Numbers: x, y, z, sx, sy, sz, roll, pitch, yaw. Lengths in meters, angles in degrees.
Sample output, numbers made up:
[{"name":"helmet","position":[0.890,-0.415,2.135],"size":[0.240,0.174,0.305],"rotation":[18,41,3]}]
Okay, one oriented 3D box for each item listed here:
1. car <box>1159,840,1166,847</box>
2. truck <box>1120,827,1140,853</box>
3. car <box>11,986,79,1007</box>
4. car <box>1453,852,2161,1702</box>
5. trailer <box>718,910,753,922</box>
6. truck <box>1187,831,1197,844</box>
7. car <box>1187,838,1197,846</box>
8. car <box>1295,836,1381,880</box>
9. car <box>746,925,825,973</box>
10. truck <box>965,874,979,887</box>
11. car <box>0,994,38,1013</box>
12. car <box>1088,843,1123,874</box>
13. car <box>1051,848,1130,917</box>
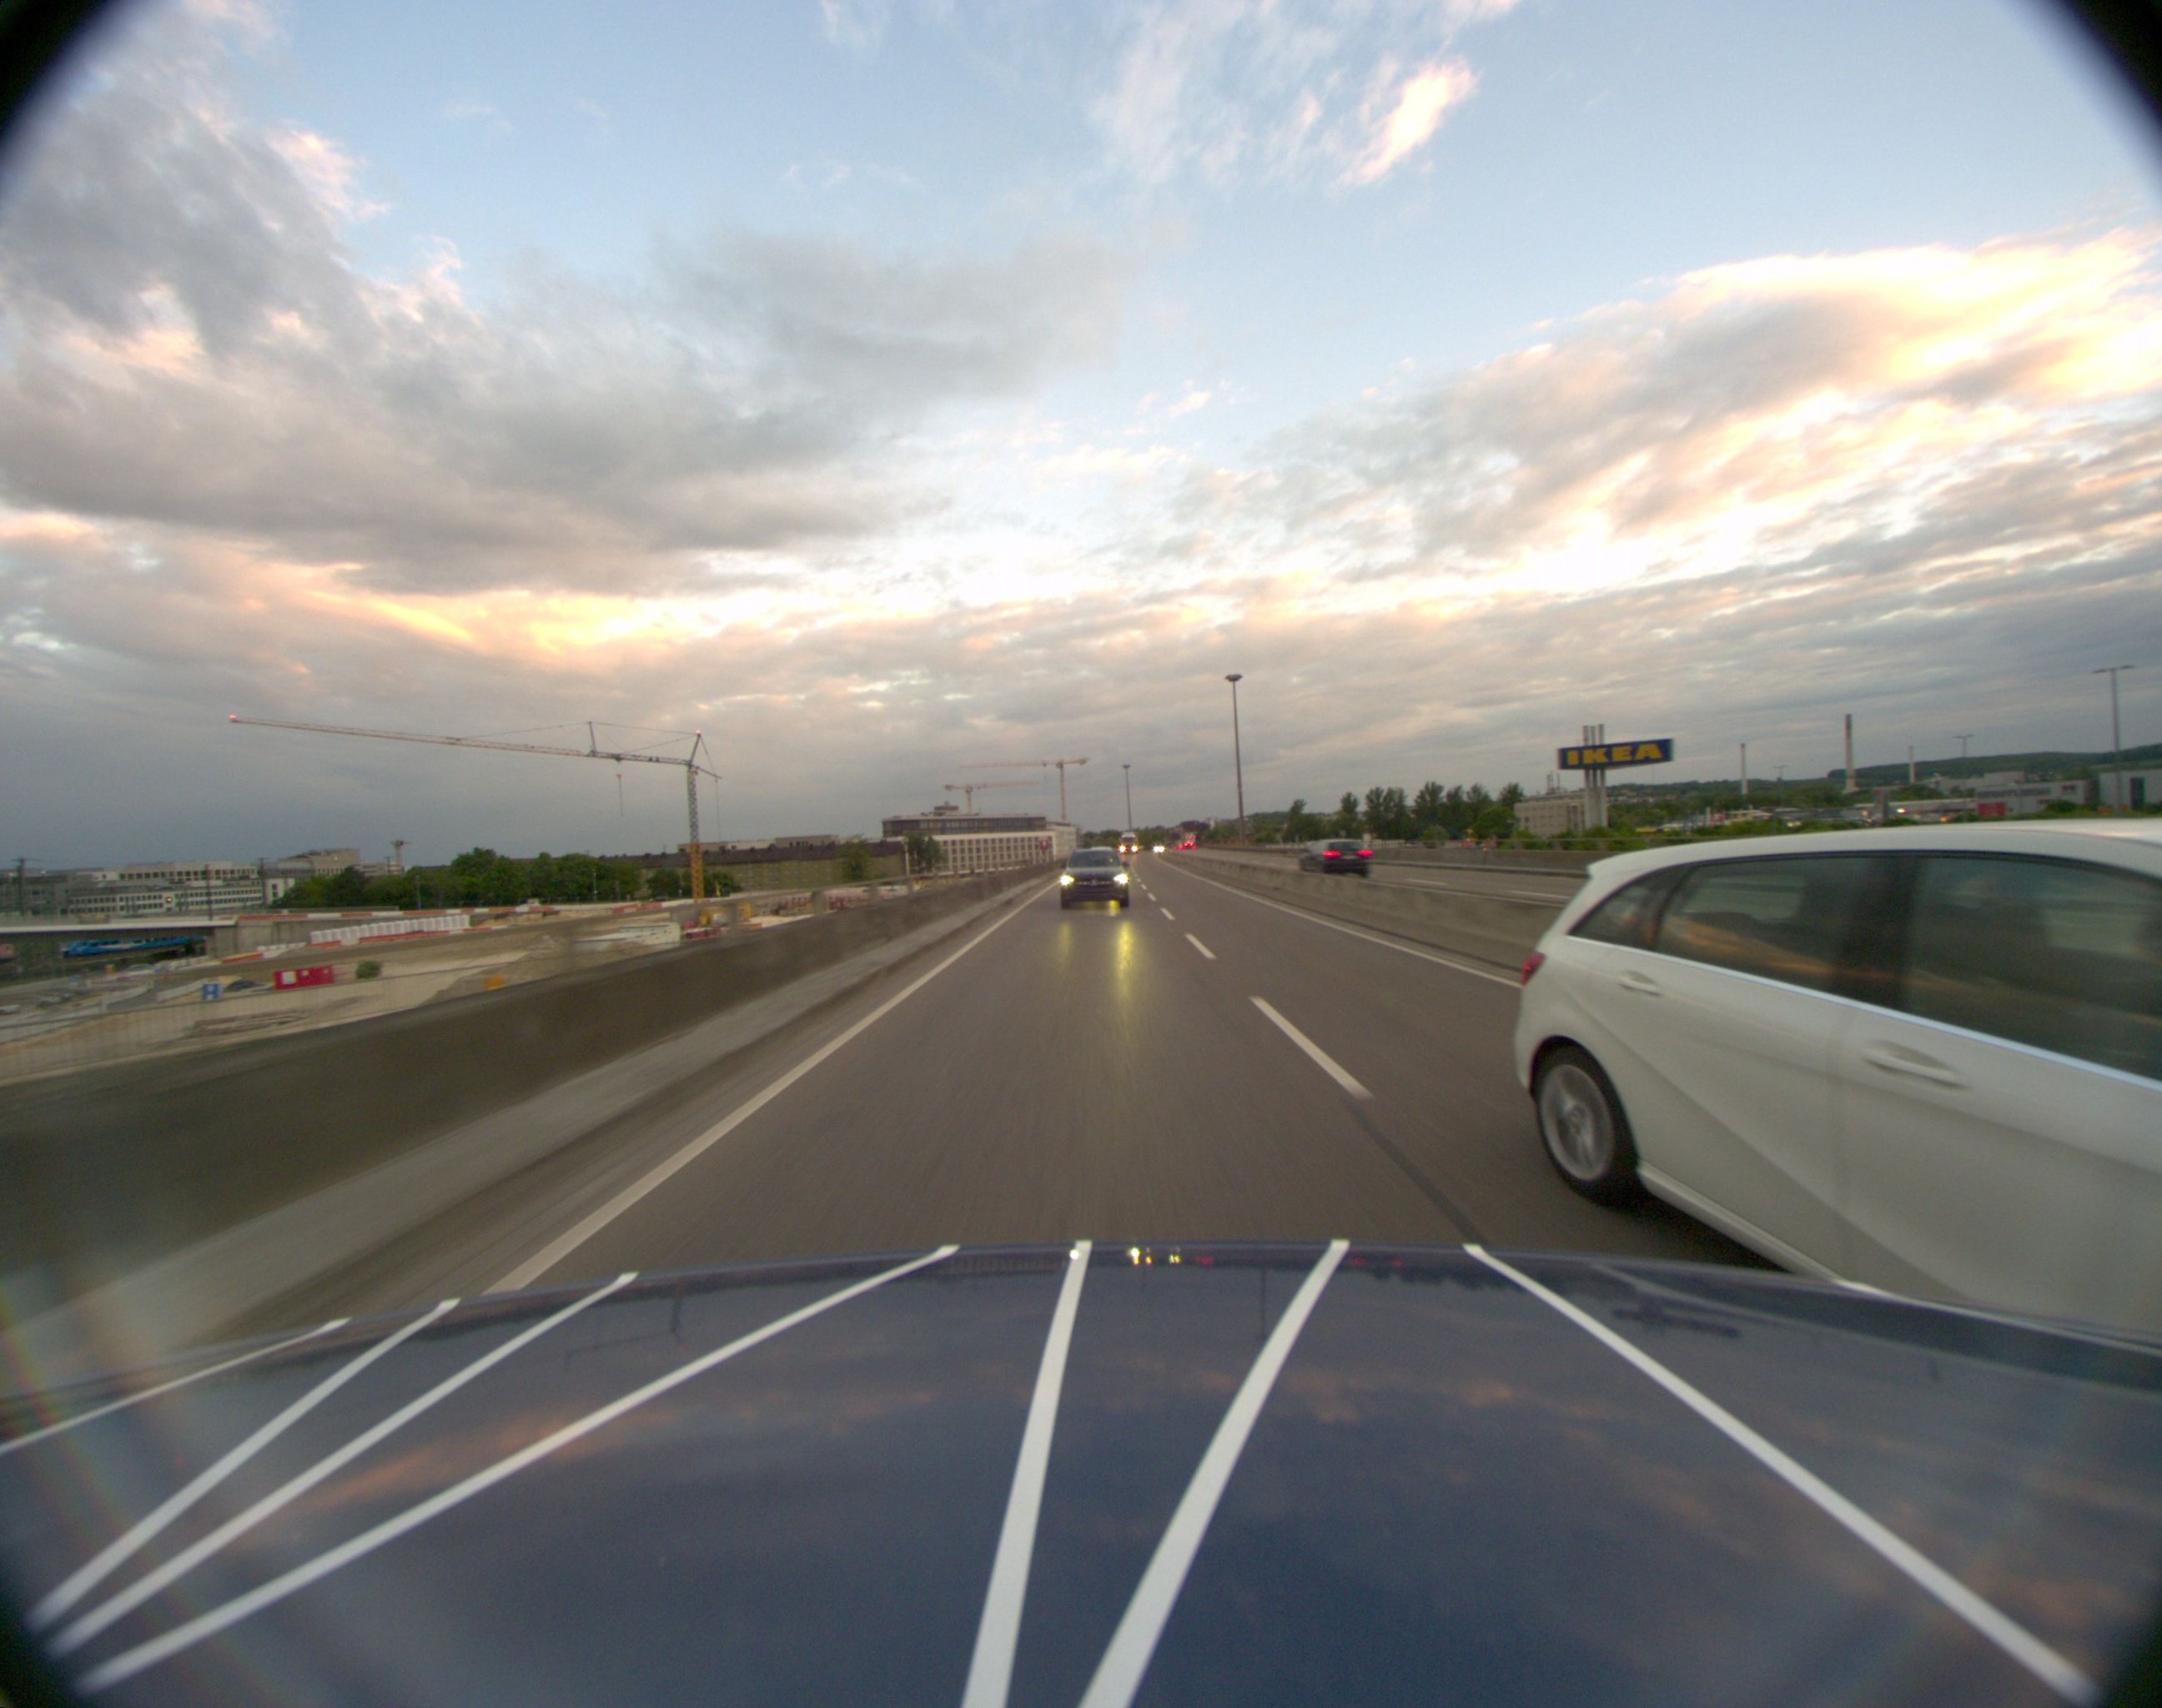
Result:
[{"name":"car","position":[23.647,-3.149,220.585],"size":[1.997,2.002,4.002],"rotation":[-2,1,9]},{"name":"truck","position":[9.039,-2.583,138.907],"size":[3.164,4.369,8.795],"rotation":[-2,1,6]},{"name":"car","position":[-123.920,17.066,90.943],"size":[4.350,1.512,1.867],"rotation":[-6,2,-32]},{"name":"car","position":[2.842,0.787,1.735],"size":[1.695,1.528,4.784],"rotation":[-2,0,1]},{"name":"trailer","position":[-50.550,9.080,111.216],"size":[1.780,1.234,4.259],"rotation":[-4,0,32]},{"name":"truck","position":[29.676,-4.451,202.684],"size":[2.539,3.278,7.449],"rotation":[-2,1,8]},{"name":"car","position":[26.251,-2.847,179.706],"size":[1.981,1.596,4.442],"rotation":[-2,1,6]},{"name":"car","position":[9.514,0.106,28.464],"size":[1.833,1.472,4.287],"rotation":[-2,1,2]},{"name":"car","position":[-12.118,3.862,31.406],"size":[1.754,1.482,4.000],"rotation":[-2,-1,-2]},{"name":"truck","position":[-28.312,6.897,198.303],"size":[2.163,2.930,7.338],"rotation":[-5,0,2]},{"name":"car","position":[-122.075,17.093,85.953],"size":[4.350,1.512,1.867],"rotation":[-6,2,-32]},{"name":"car","position":[1.415,0.295,44.403],"size":[1.891,1.641,4.345],"rotation":[-2,-1,2]},{"name":"car","position":[0.355,0.668,20.125],"size":[1.823,1.602,4.213],"rotation":[-1,1,4]}]
